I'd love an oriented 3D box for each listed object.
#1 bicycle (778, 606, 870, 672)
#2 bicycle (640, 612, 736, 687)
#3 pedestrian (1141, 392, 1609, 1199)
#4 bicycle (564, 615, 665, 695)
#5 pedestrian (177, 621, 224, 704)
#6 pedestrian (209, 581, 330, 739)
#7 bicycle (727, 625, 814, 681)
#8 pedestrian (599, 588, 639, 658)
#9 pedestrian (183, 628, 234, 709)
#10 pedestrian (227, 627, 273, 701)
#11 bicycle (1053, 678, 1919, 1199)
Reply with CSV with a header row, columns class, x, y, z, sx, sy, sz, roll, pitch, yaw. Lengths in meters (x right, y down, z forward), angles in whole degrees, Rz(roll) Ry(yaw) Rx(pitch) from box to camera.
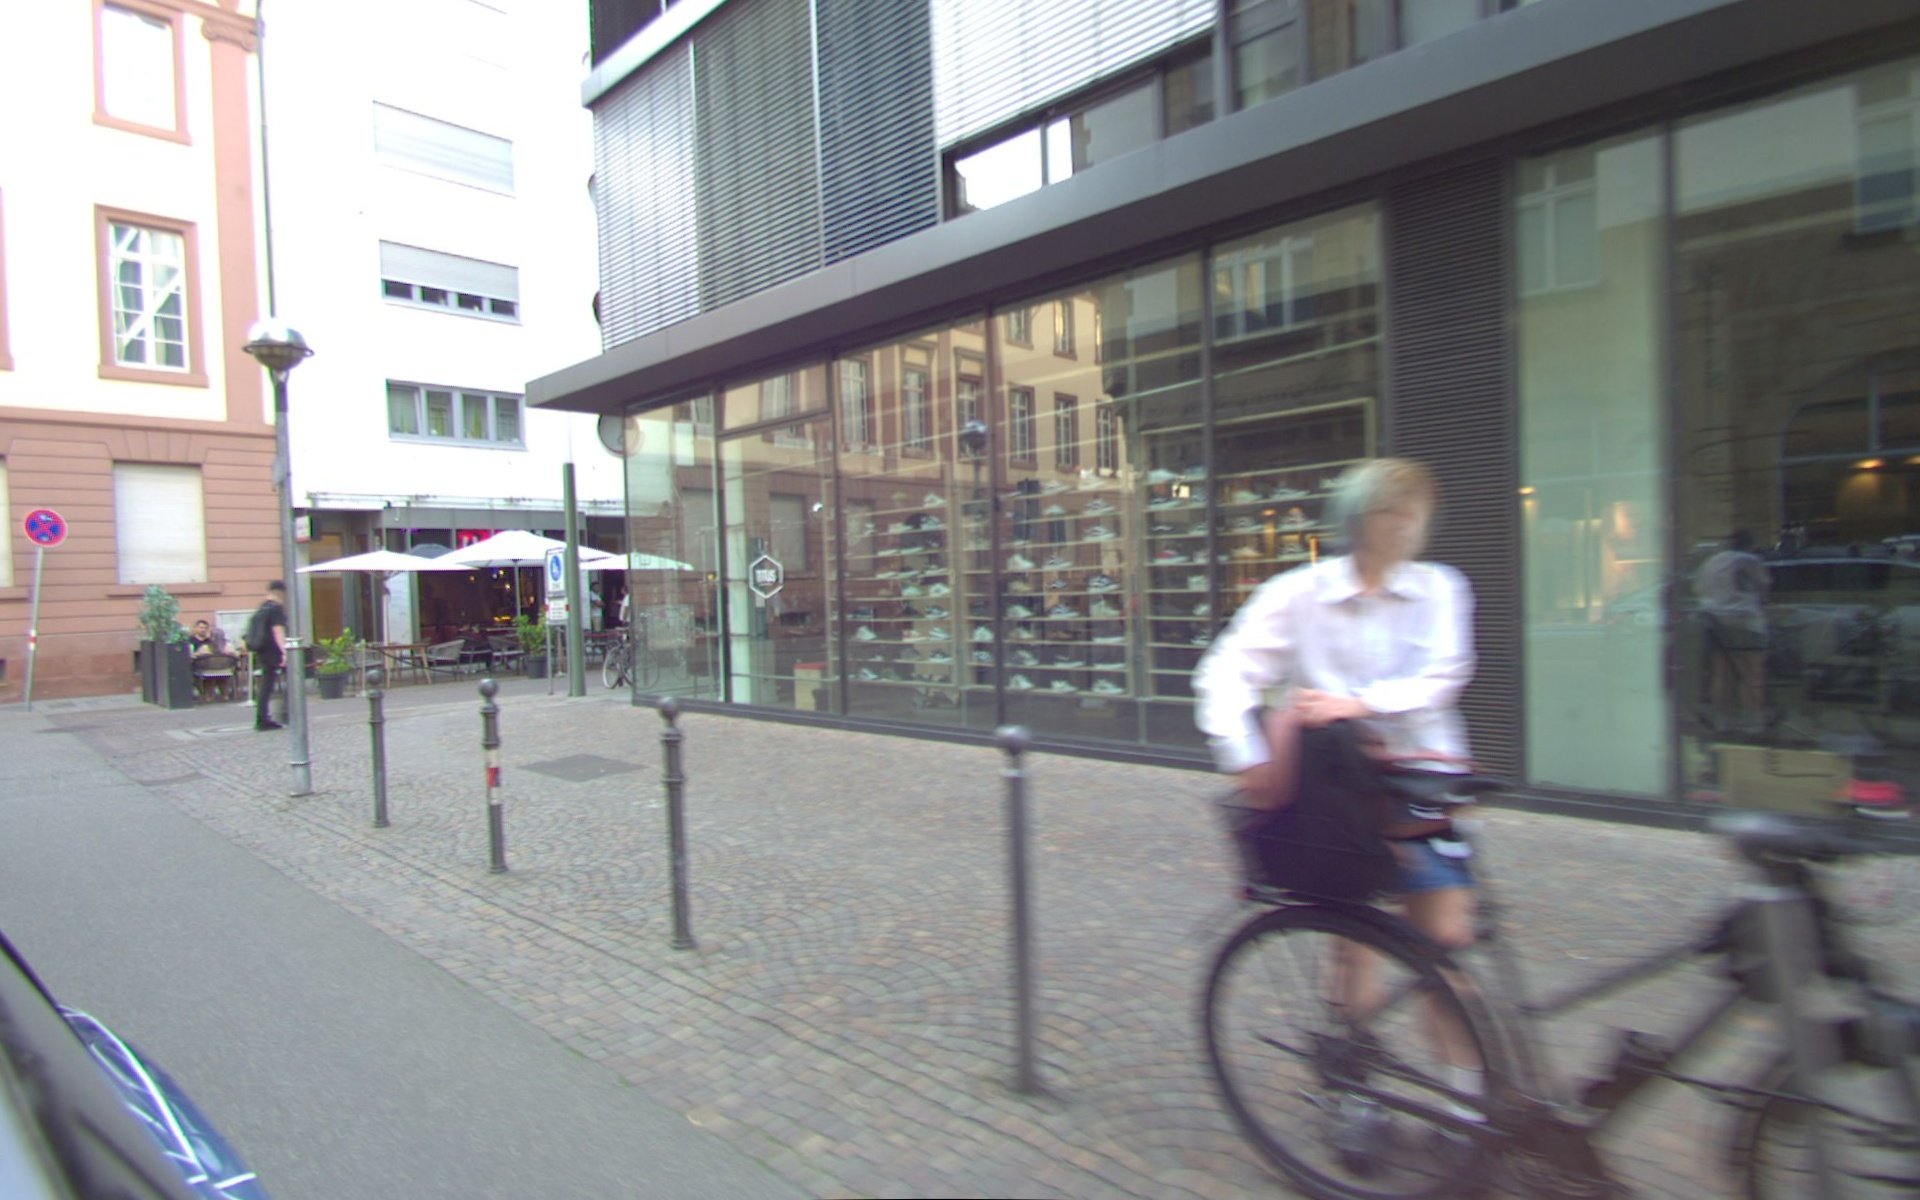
class,x,y,z,sx,sy,sz,roll,pitch,yaw
bicycle,-2.537,0.727,18.737,1.911,1.153,0.549,-3,0,42
bicycle,-4.579,0.833,16.977,1.841,1.159,0.601,-4,-1,42
pedestrian,0.903,0.459,2.349,0.582,1.731,0.772,-4,2,-16
bicycle,-5.313,0.843,15.501,1.673,1.121,0.700,-4,-1,42
pedestrian,-12.893,1.045,17.174,0.541,1.359,0.489,-3,1,-45
pedestrian,-8.319,0.690,12.212,0.738,1.798,0.957,-2,1,34
bicycle,-3.292,0.917,17.463,1.793,0.902,0.448,-4,-1,42
pedestrian,-8.452,0.561,25.124,0.619,1.678,0.667,-2,0,16
pedestrian,-11.910,1.076,16.044,0.554,1.221,0.461,-3,1,-45
pedestrian,-12.260,1.099,17.474,0.541,1.220,0.524,-3,1,-45
bicycle,1.105,0.781,1.775,1.915,1.162,0.527,-2,2,44
